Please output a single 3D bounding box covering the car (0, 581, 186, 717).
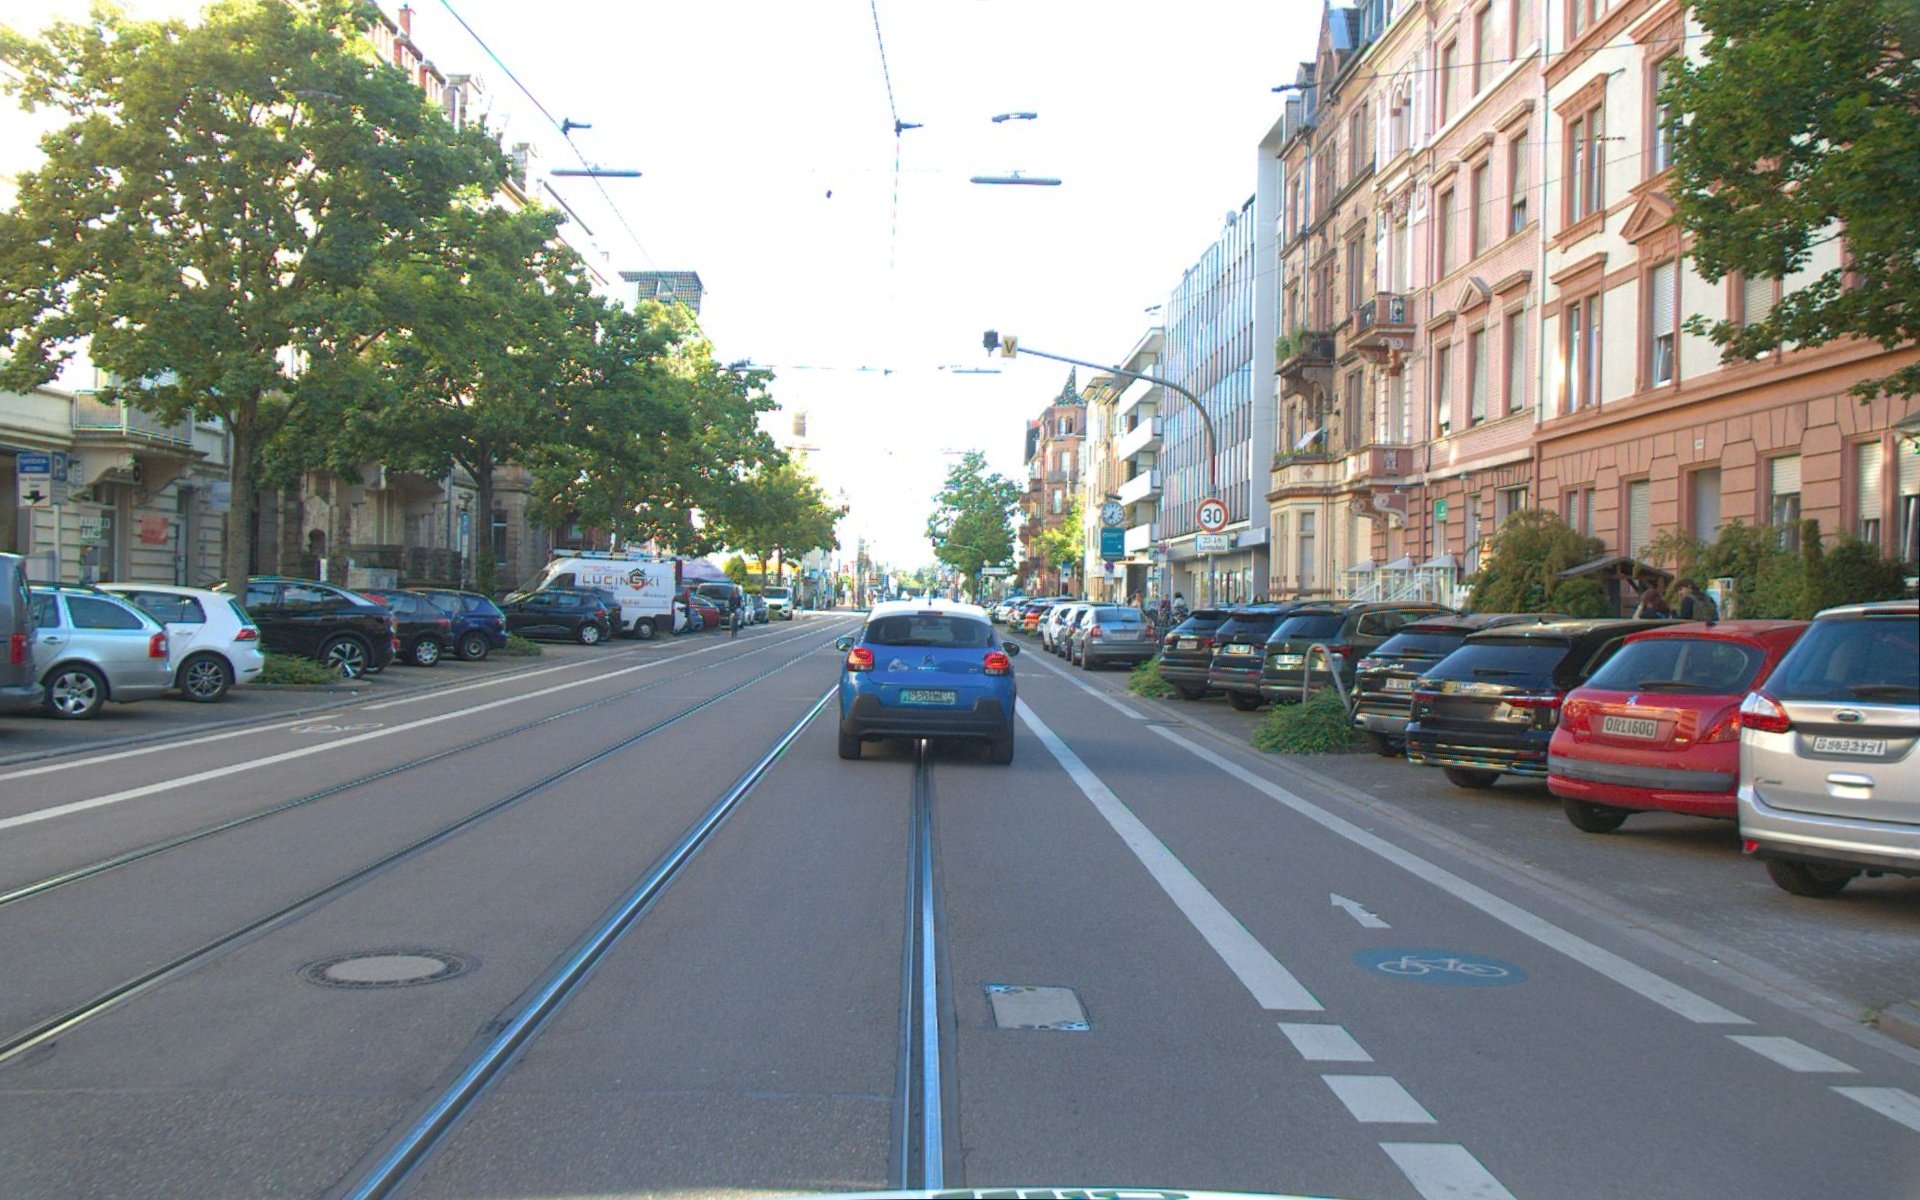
[{"bbox_3d":[-11.047,0.520,18.668,3.970,1.475,1.679,2,-1,-34],"label":"car"}]

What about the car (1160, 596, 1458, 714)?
[{"bbox_3d":[5.240,0.818,24.824,3.938,1.624,2.070,2,0,-26],"label":"car"}]

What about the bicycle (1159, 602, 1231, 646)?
[{"bbox_3d":[6.912,0.701,48.658,1.978,1.243,0.663,2,-1,-2],"label":"bicycle"}]

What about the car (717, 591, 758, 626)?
[{"bbox_3d":[-11.044,0.435,82.444,1.713,1.646,4.407,2,0,-4],"label":"car"}]

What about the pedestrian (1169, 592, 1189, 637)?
[{"bbox_3d":[8.865,0.602,66.942,0.678,1.786,0.678,2,-1,-1],"label":"pedestrian"}]

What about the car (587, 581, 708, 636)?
[{"bbox_3d":[-11.257,0.323,59.556,3.939,1.848,1.697,2,-1,-27],"label":"car"}]

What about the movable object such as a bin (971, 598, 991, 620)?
[{"bbox_3d":[1.509,0.665,118.113,1.366,1.509,1.655,2,0,-1],"label":"movable object such as a bin"}]

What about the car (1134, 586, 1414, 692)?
[{"bbox_3d":[5.235,0.651,27.538,4.250,1.624,1.966,2,0,-26],"label":"car"}]

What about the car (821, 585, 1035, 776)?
[{"bbox_3d":[-0.308,0.723,16.596,1.835,1.624,3.999,2,0,-1],"label":"car"}]

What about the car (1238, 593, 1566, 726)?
[{"bbox_3d":[5.930,0.795,22.191,3.938,1.624,1.943,2,0,-26],"label":"car"}]

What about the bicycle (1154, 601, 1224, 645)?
[{"bbox_3d":[6.864,0.679,49.575,1.978,1.243,0.663,2,-1,-2],"label":"bicycle"}]

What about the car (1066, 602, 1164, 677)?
[{"bbox_3d":[3.673,0.909,39.925,1.835,1.624,4.718,2,0,-1],"label":"car"}]

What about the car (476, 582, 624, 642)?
[{"bbox_3d":[-12.058,0.360,48.717,3.939,1.646,1.697,2,-1,-27],"label":"car"}]

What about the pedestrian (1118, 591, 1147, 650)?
[{"bbox_3d":[4.957,0.587,47.444,0.697,1.635,0.654,2,-1,-2],"label":"pedestrian"}]

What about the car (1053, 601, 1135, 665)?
[{"bbox_3d":[3.619,0.872,45.261,1.835,1.624,3.999,2,0,-1],"label":"car"}]

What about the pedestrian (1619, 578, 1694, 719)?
[{"bbox_3d":[8.558,0.589,20.339,0.507,1.677,0.863,2,-1,-1],"label":"pedestrian"}]

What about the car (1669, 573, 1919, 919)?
[{"bbox_3d":[6.226,0.747,9.213,4.298,1.624,1.838,2,-1,-26],"label":"car"}]

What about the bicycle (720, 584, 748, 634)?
[{"bbox_3d":[-7.941,0.306,58.184,0.666,1.708,2.096,2,0,-1],"label":"bicycle"}]

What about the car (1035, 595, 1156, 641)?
[{"bbox_3d":[5.004,0.674,60.926,4.394,1.534,1.520,2,-1,-31],"label":"car"}]

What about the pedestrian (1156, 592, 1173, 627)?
[{"bbox_3d":[9.519,0.446,76.946,0.678,1.615,0.678,2,-1,-1],"label":"pedestrian"}]

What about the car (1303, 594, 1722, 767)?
[{"bbox_3d":[5.948,0.824,17.698,4.277,1.624,2.022,2,-1,-33],"label":"car"}]

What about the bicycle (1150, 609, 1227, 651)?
[{"bbox_3d":[7.121,0.936,51.558,2.309,1.243,0.664,2,-1,2],"label":"bicycle"}]

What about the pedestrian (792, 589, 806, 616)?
[{"bbox_3d":[-10.518,0.162,108.101,0.720,1.756,0.623,2,-1,-25],"label":"pedestrian"}]

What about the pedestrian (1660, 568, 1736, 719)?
[{"bbox_3d":[9.132,0.528,20.487,0.507,1.809,0.863,2,-1,-1],"label":"pedestrian"}]

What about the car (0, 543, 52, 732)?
[{"bbox_3d":[-10.922,0.302,15.794,3.777,1.816,1.776,2,-1,-34],"label":"car"}]

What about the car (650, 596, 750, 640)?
[{"bbox_3d":[-10.489,0.728,66.756,3.672,1.651,1.777,2,-1,-23],"label":"car"}]

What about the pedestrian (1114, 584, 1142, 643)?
[{"bbox_3d":[4.950,0.409,48.684,0.697,1.701,0.654,2,-1,-2],"label":"pedestrian"}]

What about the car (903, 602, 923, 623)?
[{"bbox_3d":[-3.456,0.914,122.810,1.394,1.457,3.138,2,0,-1],"label":"car"}]

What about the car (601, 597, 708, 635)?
[{"bbox_3d":[-11.627,0.611,63.026,3.752,1.287,1.503,2,-1,-27],"label":"car"}]

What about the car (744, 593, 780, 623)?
[{"bbox_3d":[-10.493,0.404,87.842,1.713,1.513,4.038,2,0,-4],"label":"car"}]

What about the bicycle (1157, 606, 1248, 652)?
[{"bbox_3d":[6.996,0.828,47.704,2.487,1.243,0.663,2,-1,-2],"label":"bicycle"}]

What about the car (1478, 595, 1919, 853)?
[{"bbox_3d":[5.891,0.819,11.848,3.938,1.563,1.903,2,0,-26],"label":"car"}]

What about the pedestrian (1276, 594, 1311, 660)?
[{"bbox_3d":[8.516,0.690,42.246,0.697,1.635,0.654,2,-1,-2],"label":"pedestrian"}]

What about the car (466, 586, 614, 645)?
[{"bbox_3d":[-11.848,0.449,46.581,3.925,1.515,1.797,2,0,-18],"label":"car"}]

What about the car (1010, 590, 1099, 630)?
[{"bbox_3d":[4.040,0.424,70.644,3.409,1.582,1.803,2,-1,-33],"label":"car"}]

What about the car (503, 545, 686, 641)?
[{"bbox_3d":[-11.496,-0.193,52.193,5.317,2.797,1.787,2,-1,-32],"label":"car"}]

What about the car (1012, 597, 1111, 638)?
[{"bbox_3d":[4.194,0.710,68.213,3.686,1.547,1.945,2,-1,-34],"label":"car"}]

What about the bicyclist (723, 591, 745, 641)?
[{"bbox_3d":[-7.943,0.556,58.059,0.621,1.711,0.726,2,-1,-1],"label":"bicyclist"}]

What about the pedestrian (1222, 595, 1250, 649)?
[{"bbox_3d":[8.387,0.662,50.317,0.697,1.635,0.654,-1,0,-2],"label":"pedestrian"}]

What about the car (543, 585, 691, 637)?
[{"bbox_3d":[-11.769,0.378,56.878,4.713,1.646,1.692,2,-1,-34],"label":"car"}]

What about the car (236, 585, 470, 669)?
[{"bbox_3d":[-11.769,0.536,32.140,3.951,1.515,1.785,2,-1,-34],"label":"car"}]

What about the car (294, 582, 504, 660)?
[{"bbox_3d":[-11.870,0.449,35.044,3.943,1.515,1.789,2,-1,-29],"label":"car"}]

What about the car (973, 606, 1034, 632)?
[{"bbox_3d":[2.861,1.254,108.492,3.601,1.561,1.778,2,0,-21],"label":"car"}]

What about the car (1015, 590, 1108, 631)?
[{"bbox_3d":[4.510,0.463,73.470,3.686,1.681,2.023,2,-1,-34],"label":"car"}]

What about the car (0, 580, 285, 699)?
[{"bbox_3d":[-11.082,0.518,21.951,3.787,1.455,1.750,2,-1,-27],"label":"car"}]

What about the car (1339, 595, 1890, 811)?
[{"bbox_3d":[5.729,0.844,14.456,4.380,1.624,2.071,2,0,-26],"label":"car"}]

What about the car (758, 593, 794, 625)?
[{"bbox_3d":[-11.257,0.547,101.373,1.794,1.880,4.213,2,0,-1],"label":"car"}]

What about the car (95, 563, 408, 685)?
[{"bbox_3d":[-11.333,0.405,26.555,4.314,1.814,1.973,2,-1,-34],"label":"car"}]

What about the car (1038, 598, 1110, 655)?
[{"bbox_3d":[3.474,0.791,51.113,1.835,1.624,3.999,2,0,-1],"label":"car"}]

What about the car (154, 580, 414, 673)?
[{"bbox_3d":[-11.932,0.474,29.260,3.951,1.515,1.845,2,-1,-34],"label":"car"}]

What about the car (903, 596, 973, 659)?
[{"bbox_3d":[-0.618,0.738,46.328,1.835,1.624,3.999,2,0,-1],"label":"car"}]

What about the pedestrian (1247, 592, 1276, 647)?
[{"bbox_3d":[9.187,0.597,50.425,0.697,1.635,0.654,2,-1,-2],"label":"pedestrian"}]

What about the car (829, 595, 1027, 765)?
[{"bbox_3d":[-0.331,0.724,16.550,1.727,1.466,3.555,2,0,-2],"label":"car"}]

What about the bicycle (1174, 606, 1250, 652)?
[{"bbox_3d":[7.023,0.797,46.149,2.015,1.243,0.663,1,-1,-3],"label":"bicycle"}]
